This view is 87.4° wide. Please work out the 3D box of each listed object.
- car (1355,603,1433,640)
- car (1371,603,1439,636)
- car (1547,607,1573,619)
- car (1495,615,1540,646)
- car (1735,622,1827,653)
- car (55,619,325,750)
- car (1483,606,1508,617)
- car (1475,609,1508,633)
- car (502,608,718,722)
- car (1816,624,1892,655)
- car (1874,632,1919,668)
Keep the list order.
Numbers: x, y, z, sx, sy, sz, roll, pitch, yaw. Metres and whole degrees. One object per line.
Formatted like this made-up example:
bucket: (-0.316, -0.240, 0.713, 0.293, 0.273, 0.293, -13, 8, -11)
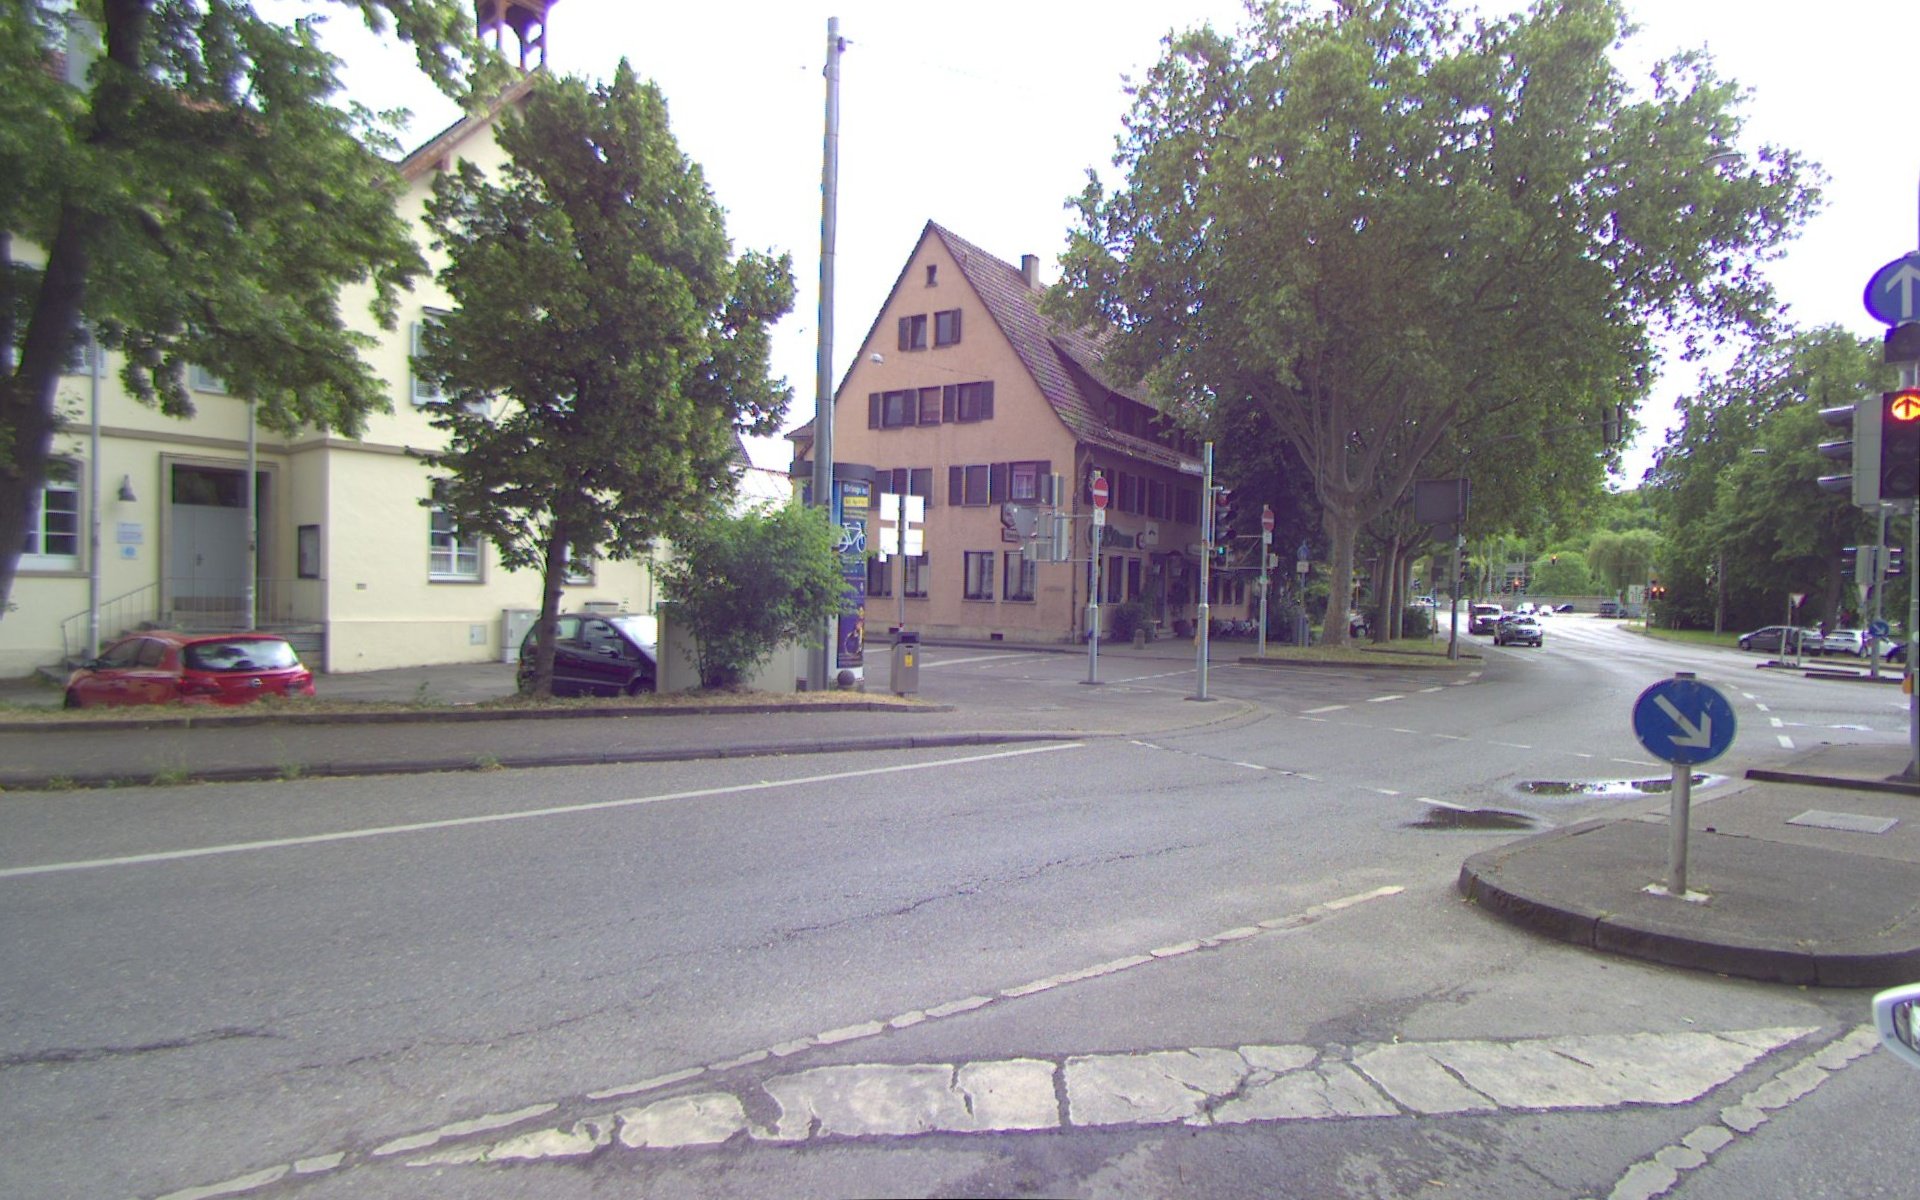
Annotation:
car: (21.405, 1.046, 49.585, 3.387, 1.663, 1.570, 2, 0, 28)
car: (25.466, 1.085, 57.469, 3.387, 1.765, 1.570, 2, 0, 28)
car: (108.230, 2.316, 181.089, 3.928, 2.040, 1.996, 2, 0, 30)
car: (27.110, 1.473, 48.907, 1.404, 1.435, 2.872, 1, -1, 19)
car: (43.860, 1.968, 53.761, 1.559, 1.484, 3.543, 2, 0, -17)
car: (-10.180, 1.012, 13.249, 3.492, 1.397, 1.605, 2, 0, 30)
car: (100.716, 2.127, 188.935, 3.928, 2.040, 1.996, 2, 0, 30)
car: (33.611, 1.345, 63.539, 1.404, 1.435, 2.872, 1, -1, 19)
car: (-5.768, 1.005, 16.597, 3.035, 1.654, 1.607, 2, 0, 22)
car: (47.298, 2.081, 53.162, 3.342, 1.484, 1.543, 2, 0, -19)
car: (39.565, 2.077, 40.946, 1.442, 1.412, 3.596, 2, 0, 3)
